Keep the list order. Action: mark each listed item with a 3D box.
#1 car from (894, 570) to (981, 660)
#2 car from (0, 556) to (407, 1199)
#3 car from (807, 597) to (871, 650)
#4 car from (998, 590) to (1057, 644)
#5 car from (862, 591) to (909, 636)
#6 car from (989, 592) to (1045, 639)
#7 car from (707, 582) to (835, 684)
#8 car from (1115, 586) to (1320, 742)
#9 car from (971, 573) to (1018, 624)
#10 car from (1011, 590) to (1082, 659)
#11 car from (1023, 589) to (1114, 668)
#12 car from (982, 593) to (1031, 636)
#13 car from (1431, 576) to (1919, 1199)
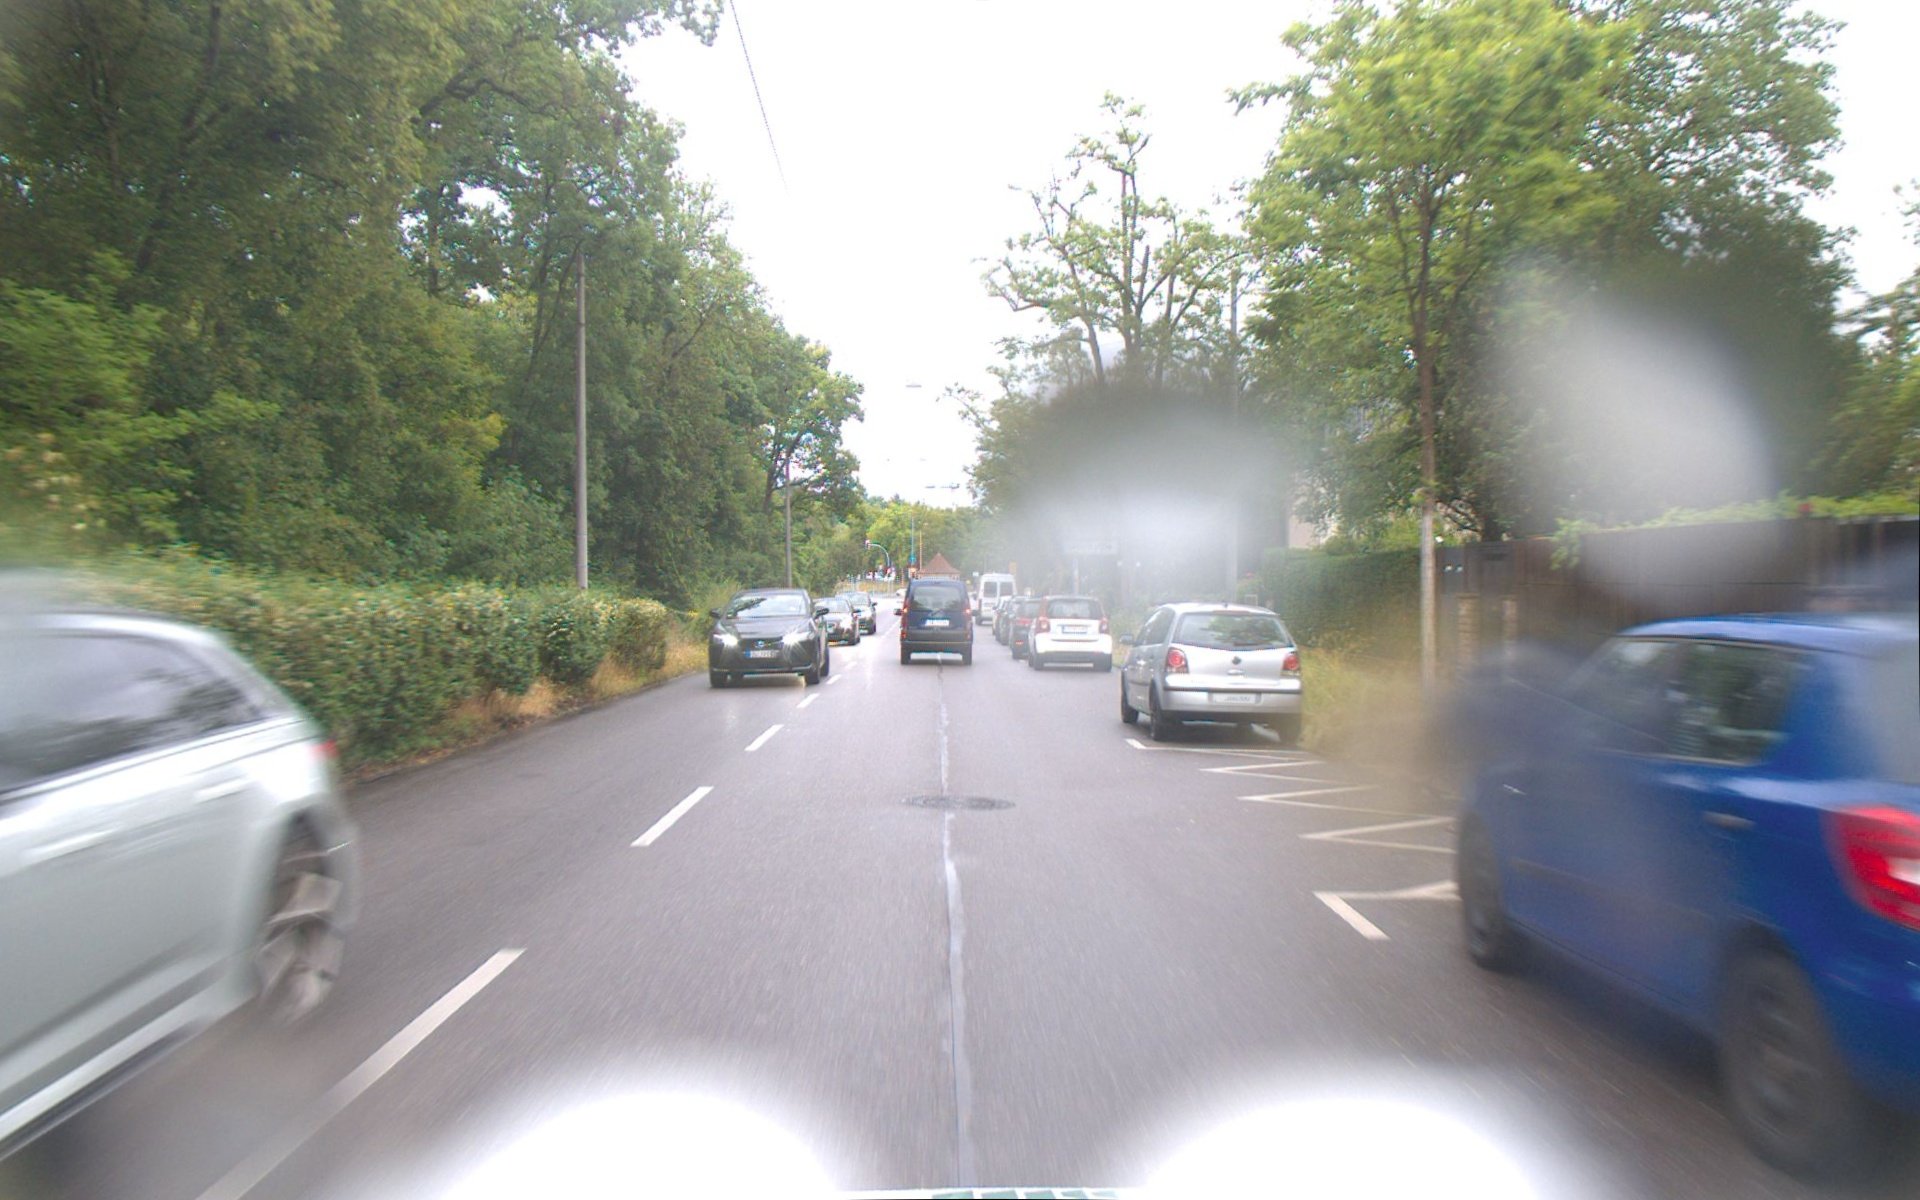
[{"bbox_3d":[-0.554,0.294,37.038,1.732,1.862,3.540,1,1,-4],"label":"car"},{"bbox_3d":[-3.050,0.679,4.112,1.818,1.494,4.446,-2,1,0],"label":"car"},{"bbox_3d":[-3.756,0.697,52.027,1.693,1.468,5.112,-1,1,-1],"label":"car"},{"bbox_3d":[2.087,0.498,52.075,1.663,1.551,4.210,1,1,0],"label":"car"},{"bbox_3d":[-2.917,0.505,65.157,1.688,1.644,4.155,-1,1,-1],"label":"car"},{"bbox_3d":[1.961,0.513,57.622,1.663,1.551,3.866,1,1,-2],"label":"car"},{"bbox_3d":[-3.246,0.518,29.238,1.767,1.574,4.431,-2,1,-1],"label":"car"},{"bbox_3d":[2.845,0.647,19.019,1.585,1.534,3.833,1,1,-2],"label":"car"},{"bbox_3d":[1.693,-0.073,82.528,2.160,2.492,4.728,0,0,-1],"label":"car"},{"bbox_3d":[2.117,0.576,41.258,1.663,1.551,3.868,1,1,2],"label":"car"},{"bbox_3d":[2.272,0.573,35.183,1.600,1.536,2.956,1,1,-2],"label":"car"},{"bbox_3d":[1.781,0.552,64.412,1.663,1.551,3.866,1,1,-2],"label":"car"},{"bbox_3d":[3.043,0.715,5.605,1.686,1.532,4.050,1,1,0],"label":"car"}]
